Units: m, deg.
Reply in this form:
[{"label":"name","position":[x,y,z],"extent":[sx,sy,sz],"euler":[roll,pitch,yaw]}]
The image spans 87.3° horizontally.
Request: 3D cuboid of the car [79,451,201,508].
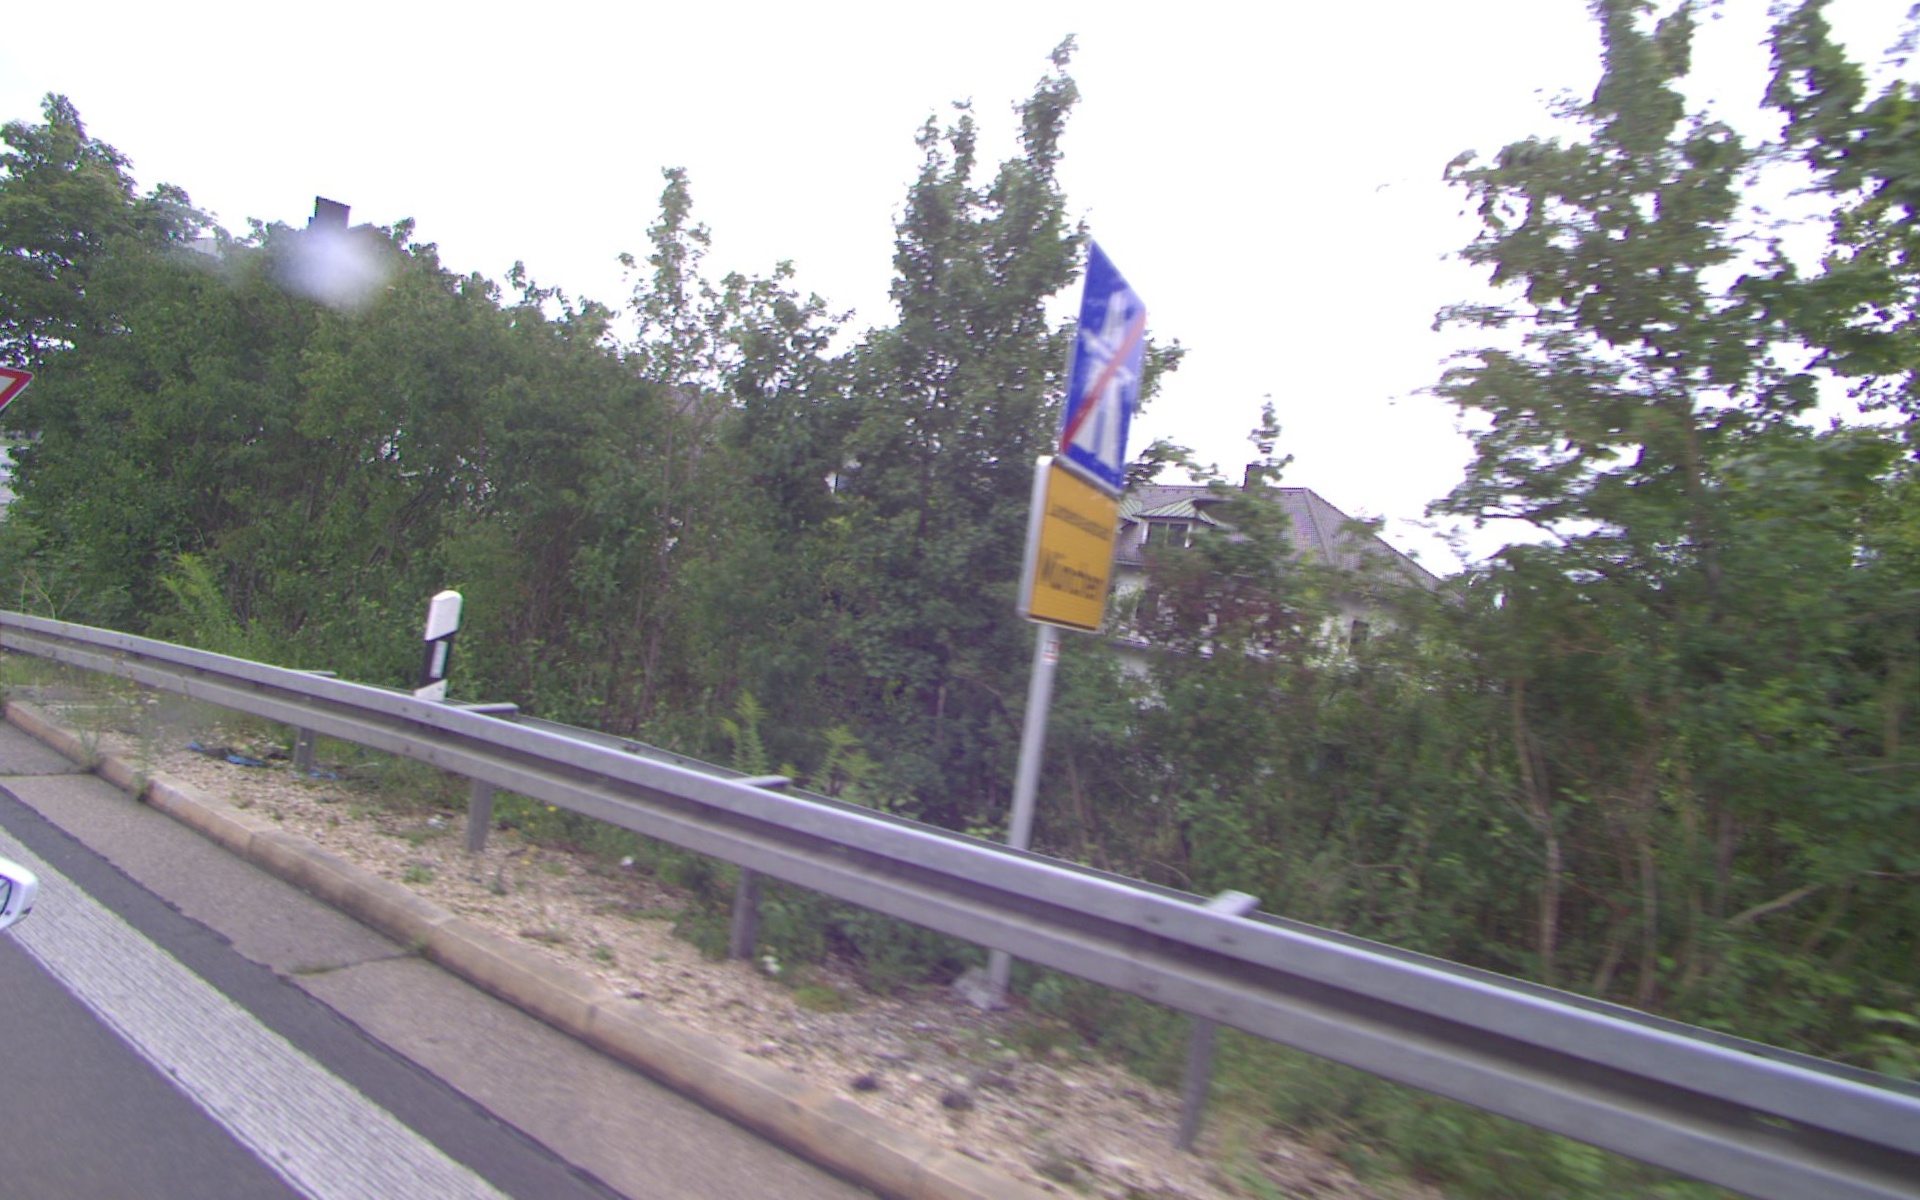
[{"label":"car","position":[-37.275,-5.470,45.848],"extent":[4.080,1.747,1.905],"euler":[9,2,-40]}]
